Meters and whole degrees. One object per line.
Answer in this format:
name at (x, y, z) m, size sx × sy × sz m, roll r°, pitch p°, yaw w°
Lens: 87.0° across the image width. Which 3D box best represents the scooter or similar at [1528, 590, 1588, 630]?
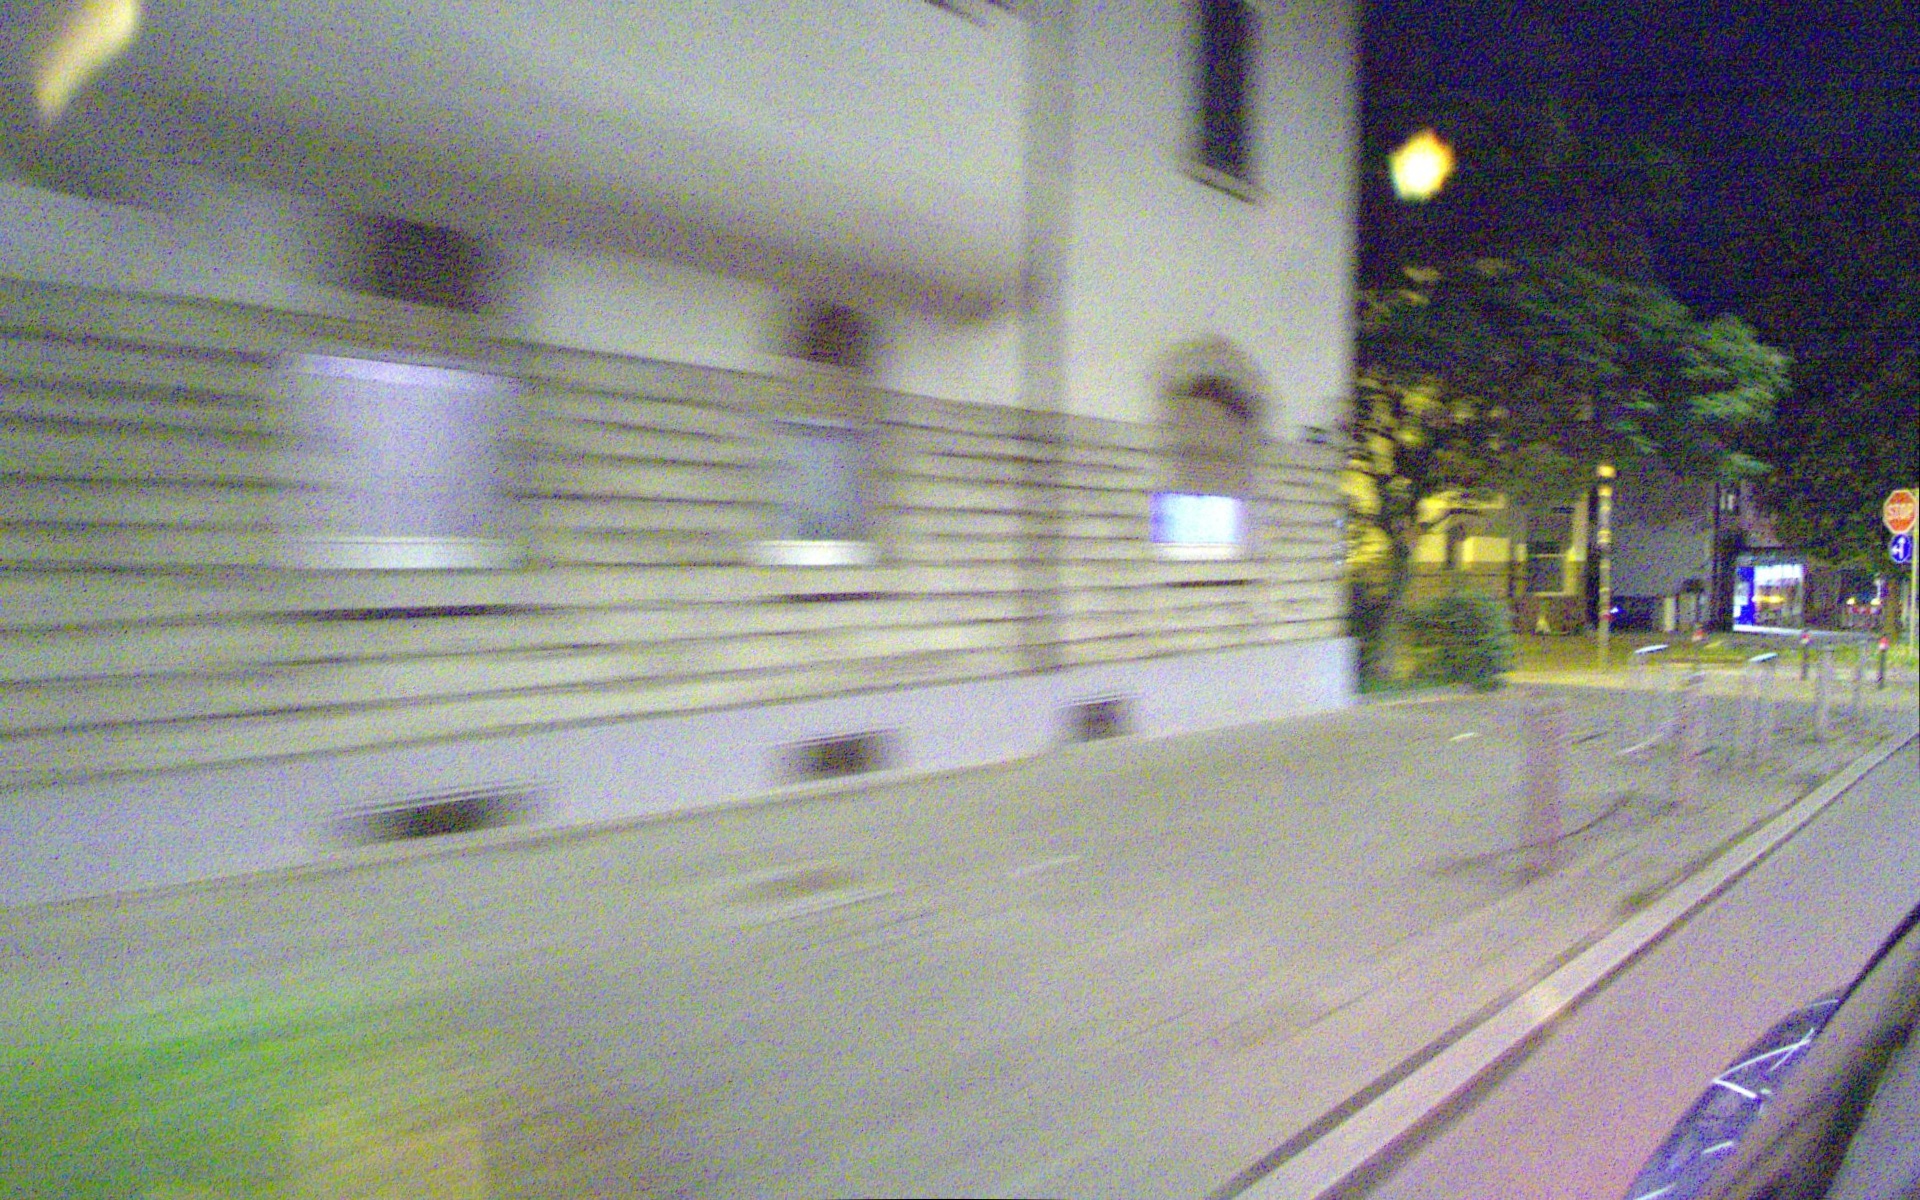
scooter or similar at (17.933, 0.285, 30.363) m, size 1.631 × 1.159 × 0.502 m, roll 0°, pitch 4°, yaw -16°
